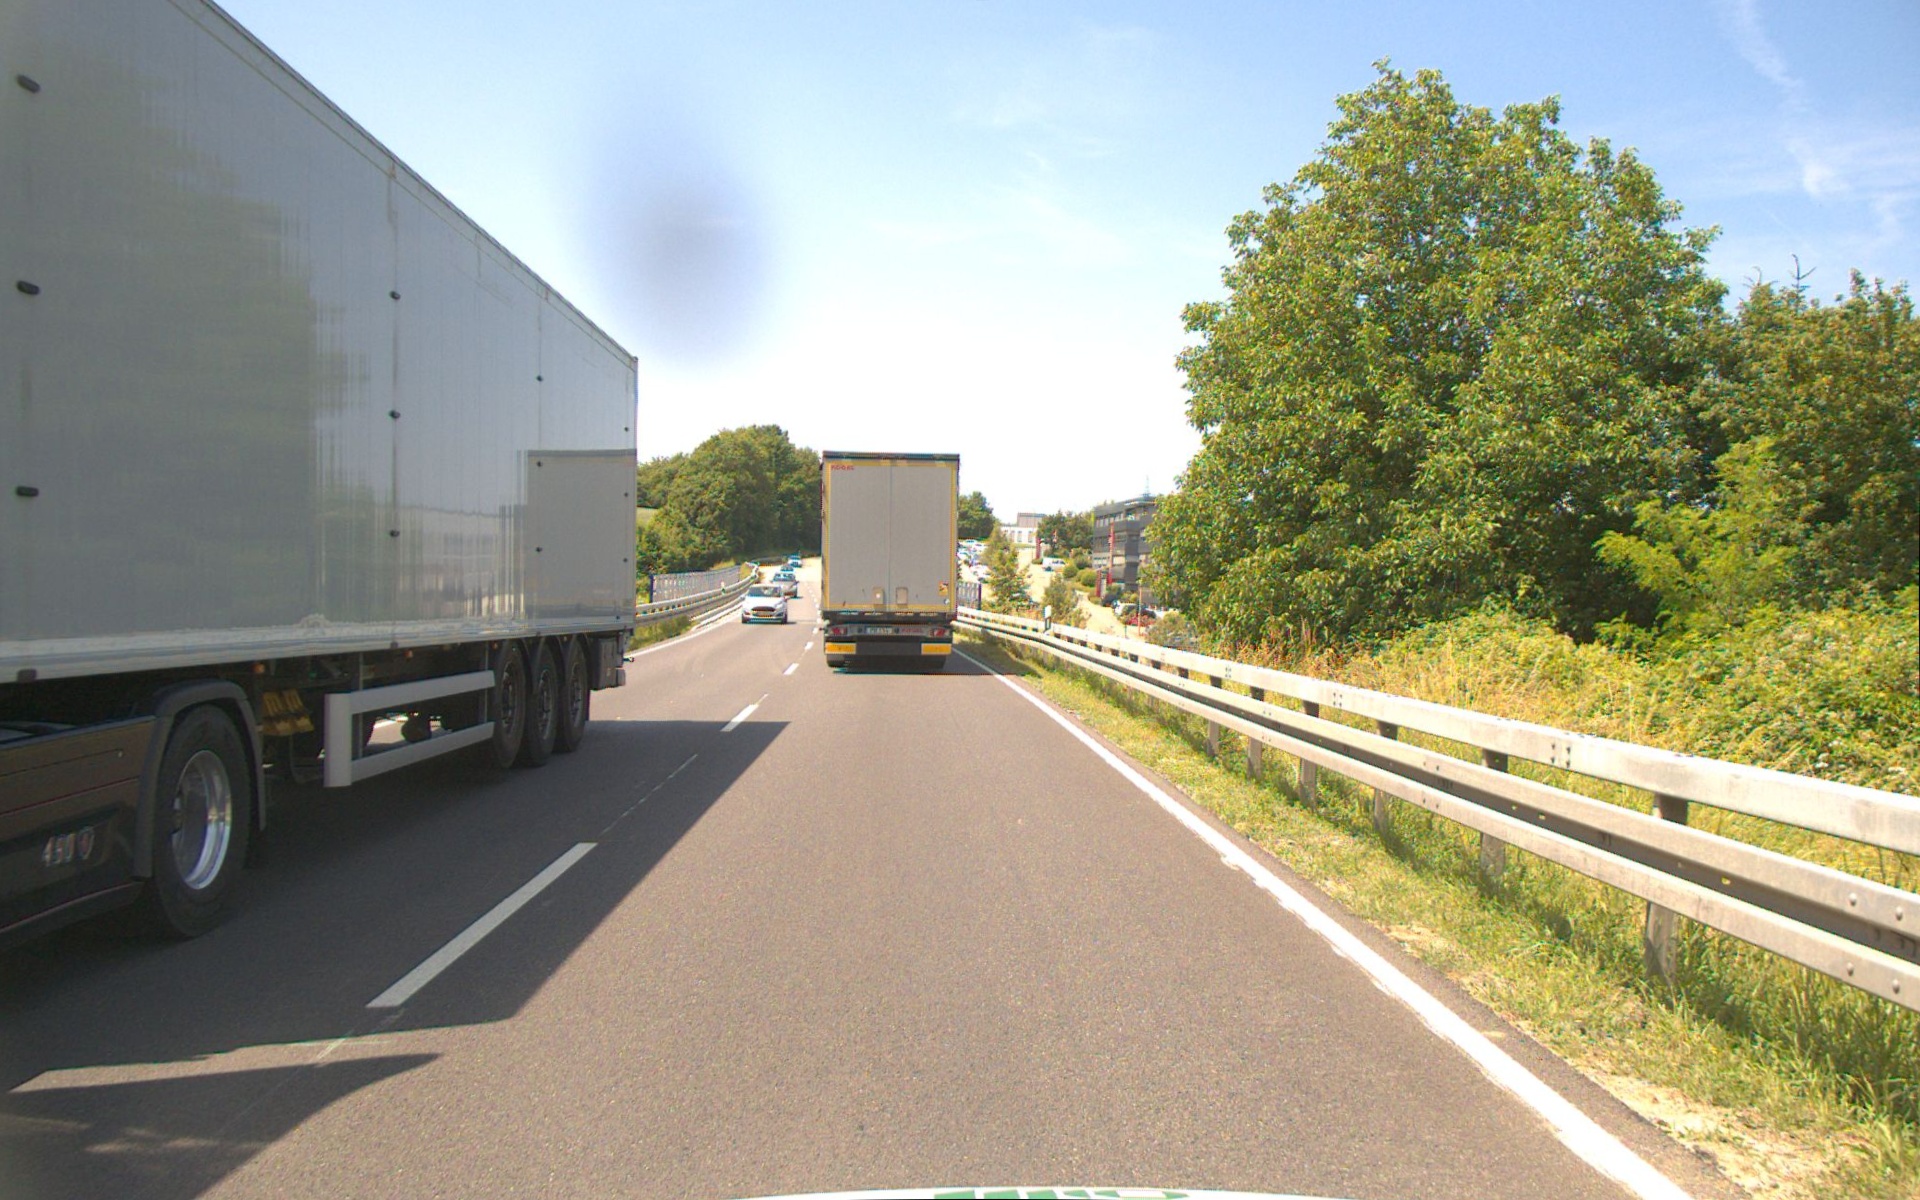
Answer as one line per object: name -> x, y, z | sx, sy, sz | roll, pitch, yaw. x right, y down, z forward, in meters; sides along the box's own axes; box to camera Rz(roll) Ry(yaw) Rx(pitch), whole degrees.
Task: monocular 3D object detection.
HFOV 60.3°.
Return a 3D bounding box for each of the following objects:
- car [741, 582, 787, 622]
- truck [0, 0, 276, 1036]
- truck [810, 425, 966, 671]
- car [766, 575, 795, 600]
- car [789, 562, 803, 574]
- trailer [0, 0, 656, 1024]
car -> -7.473, 0.045, 63.301 | 1.614, 1.466, 4.155 | 0, 1, -5
truck -> -4.329, -0.704, 4.872 | 2.396, 4.268, 5.647 | 0, 0, -1
truck -> -1.521, -0.929, 34.765 | 2.809, 4.436, 9.783 | 0, 0, -3
car -> -11.889, -0.844, 109.468 | 1.771, 1.617, 4.375 | 0, 0, -5
car -> -21.473, -4.178, 216.752 | 1.747, 1.460, 4.828 | 0, 1, -6
trailer -> -4.515, -0.750, 11.941 | 2.396, 4.257, 14.011 | 0, 0, -1
